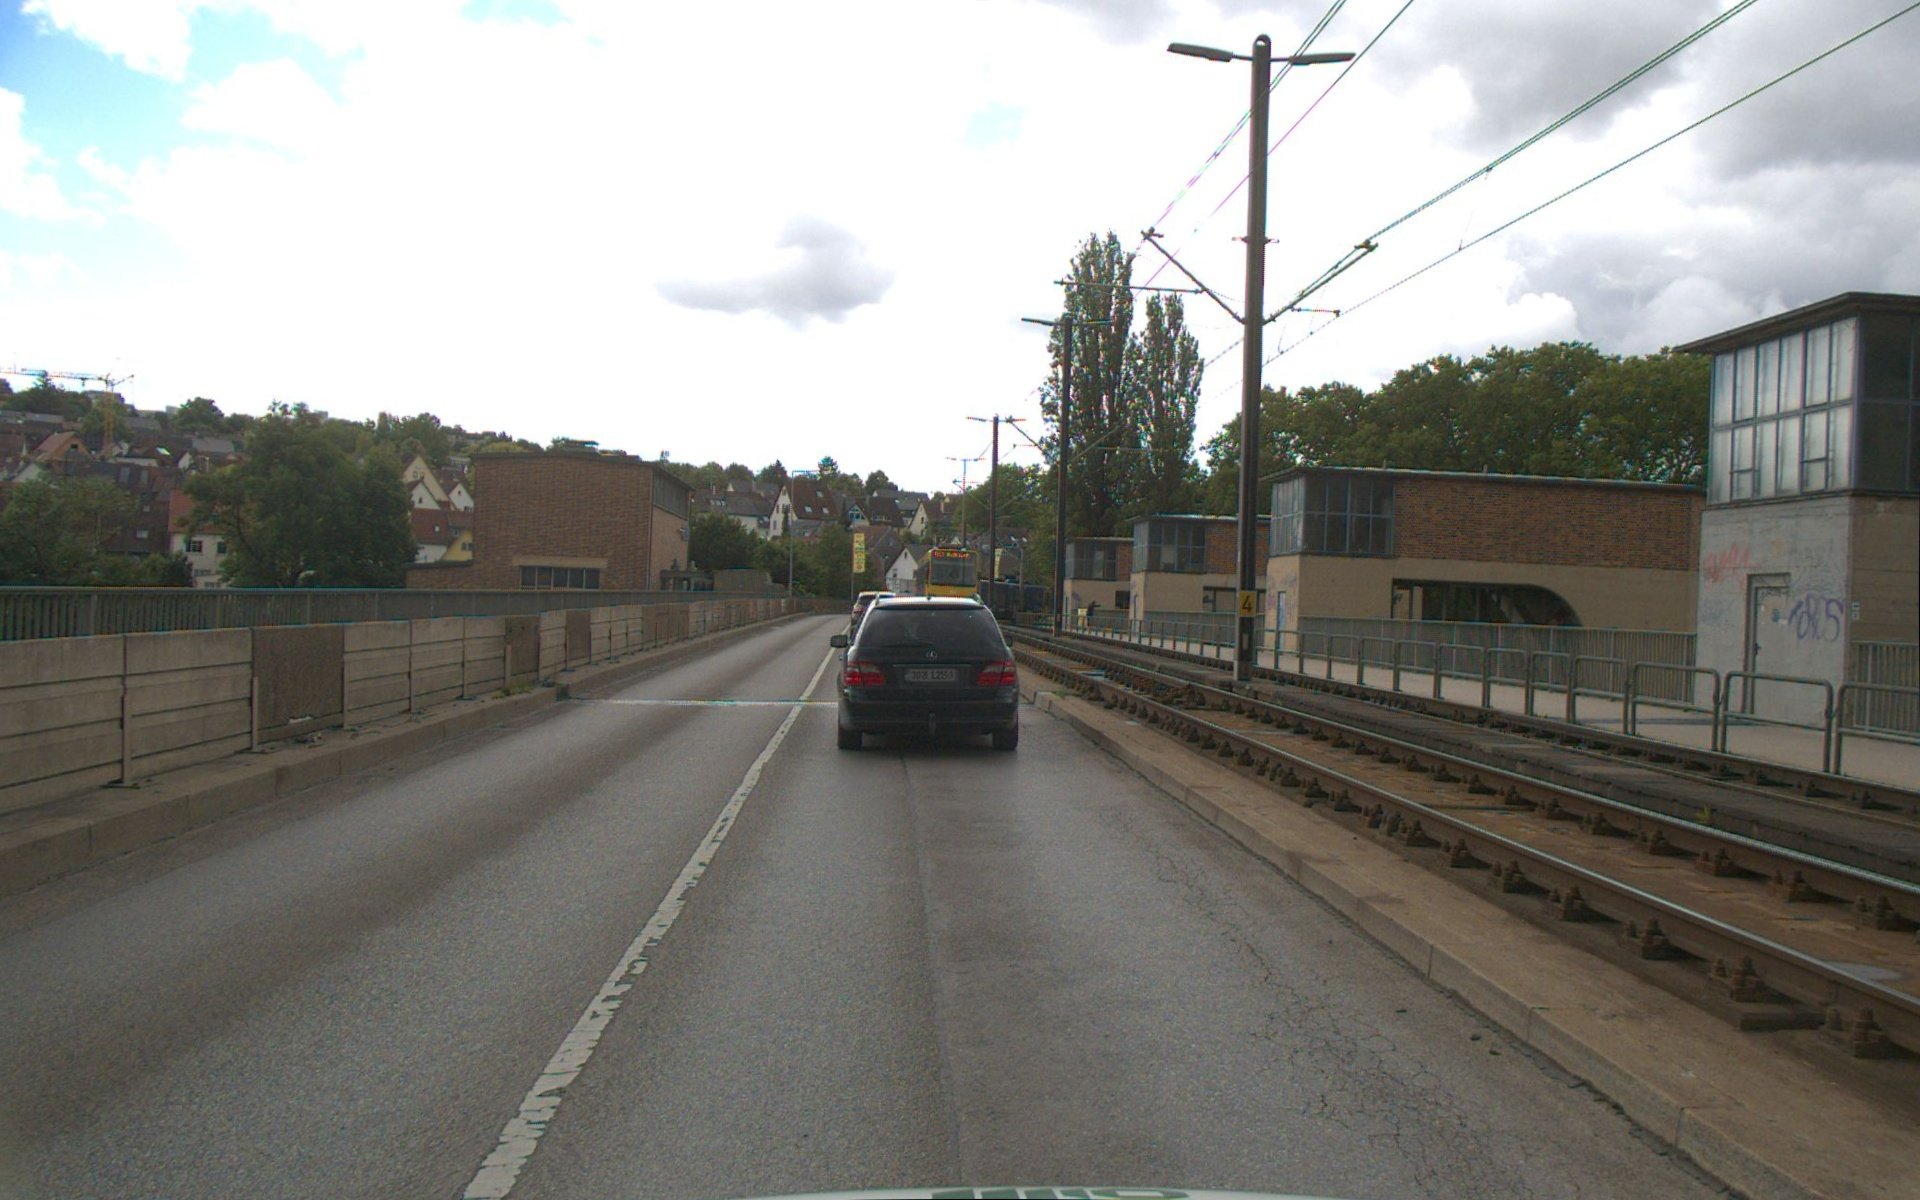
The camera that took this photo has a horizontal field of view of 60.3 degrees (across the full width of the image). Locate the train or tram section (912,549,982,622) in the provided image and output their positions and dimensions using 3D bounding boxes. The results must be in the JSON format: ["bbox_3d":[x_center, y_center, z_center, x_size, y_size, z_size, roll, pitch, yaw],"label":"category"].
[{"bbox_3d":[-0.913,-0.690,90.286,2.825,3.571,18.652,0,0,-4],"label":"train or tram section"}]

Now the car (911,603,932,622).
[{"bbox_3d":[-3.341,1.032,142.968,1.735,1.538,4.238,2,0,-2],"label":"car"}]

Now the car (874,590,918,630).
[{"bbox_3d":[-2.643,0.389,68.715,1.757,1.582,4.383,-1,0,-2],"label":"car"}]

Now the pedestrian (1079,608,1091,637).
[{"bbox_3d":[7.020,1.269,93.049,0.565,1.638,0.612,1,-1,-3],"label":"pedestrian"}]

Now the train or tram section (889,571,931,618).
[{"bbox_3d":[-4.587,-0.343,148.014,2.738,3.830,19.874,2,-1,-4],"label":"train or tram section"}]

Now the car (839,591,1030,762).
[{"bbox_3d":[-0.288,0.682,17.271,1.723,1.542,4.441,1,0,-2],"label":"car"}]

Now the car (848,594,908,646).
[{"bbox_3d":[-2.708,0.609,53.892,1.736,1.582,4.236,2,0,-5],"label":"car"}]

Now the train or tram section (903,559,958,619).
[{"bbox_3d":[-2.086,-0.639,108.906,2.774,3.643,18.652,0,0,-4],"label":"train or tram section"}]
